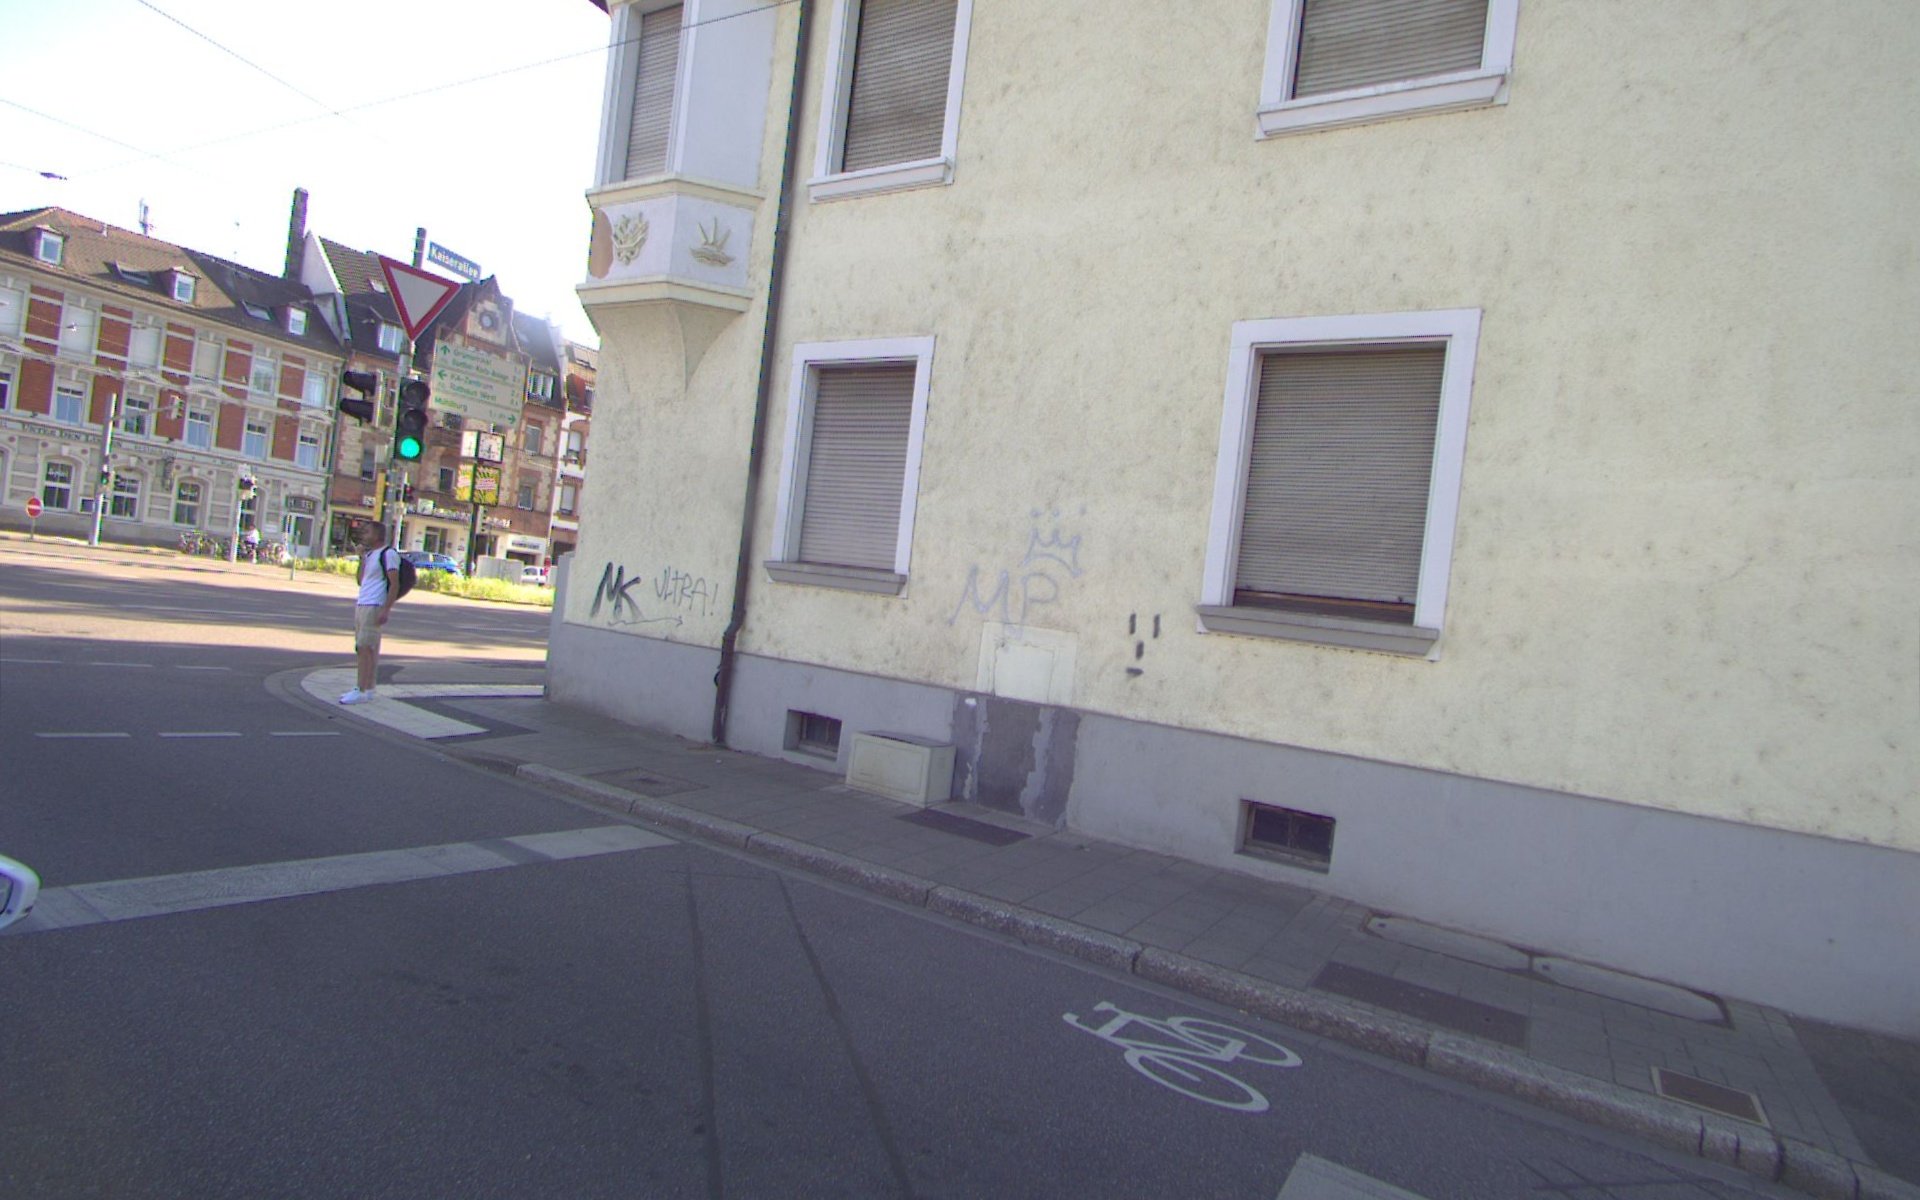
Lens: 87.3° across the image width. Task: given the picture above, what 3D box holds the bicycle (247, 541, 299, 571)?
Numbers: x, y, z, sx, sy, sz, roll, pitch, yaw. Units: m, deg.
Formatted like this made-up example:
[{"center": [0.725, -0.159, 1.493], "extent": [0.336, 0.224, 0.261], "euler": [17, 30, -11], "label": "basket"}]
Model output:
[{"center": [-32.881, -2.088, 48.178], "extent": [0.667, 1.205, 1.968], "euler": [7, -1, 20], "label": "bicycle"}]

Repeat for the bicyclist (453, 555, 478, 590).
[{"center": [-27.061, -1.508, 55.069], "extent": [0.591, 1.785, 0.905], "euler": [7, 0, 27], "label": "bicyclist"}]

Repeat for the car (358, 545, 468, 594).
[{"center": [-25.402, -1.377, 46.842], "extent": [1.922, 1.688, 3.993], "euler": [7, -1, 31], "label": "car"}]

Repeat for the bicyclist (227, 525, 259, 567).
[{"center": [-32.388, -2.437, 45.424], "extent": [0.592, 1.785, 0.873], "euler": [7, 0, 34], "label": "bicyclist"}]

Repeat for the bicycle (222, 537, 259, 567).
[{"center": [-33.849, -2.276, 47.326], "extent": [1.935, 1.205, 0.678], "euler": [7, 0, 33], "label": "bicycle"}]

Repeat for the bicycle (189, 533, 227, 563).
[{"center": [-34.543, -2.392, 46.197], "extent": [1.935, 1.205, 0.678], "euler": [7, 0, 33], "label": "bicycle"}]

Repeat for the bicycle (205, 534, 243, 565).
[{"center": [-34.204, -2.353, 46.753], "extent": [1.935, 1.205, 0.678], "euler": [7, 0, 33], "label": "bicycle"}]

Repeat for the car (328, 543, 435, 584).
[{"center": [-27.828, -1.737, 48.479], "extent": [1.815, 1.429, 3.993], "euler": [7, -1, 31], "label": "car"}]

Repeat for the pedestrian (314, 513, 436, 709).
[{"center": [-5.613, 0.097, 9.681], "extent": [0.661, 1.764, 0.689], "euler": [5, 2, 2], "label": "pedestrian"}]

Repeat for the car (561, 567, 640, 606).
[{"center": [-23.239, -0.837, 65.197], "extent": [1.922, 1.988, 4.411], "euler": [7, -1, 31], "label": "car"}]

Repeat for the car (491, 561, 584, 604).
[{"center": [-21.919, -0.898, 52.346], "extent": [1.922, 1.688, 3.993], "euler": [7, -1, 31], "label": "car"}]

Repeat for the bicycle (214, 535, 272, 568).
[{"center": [-32.395, -2.187, 45.468], "extent": [0.592, 1.205, 1.962], "euler": [7, -1, 34], "label": "bicycle"}]

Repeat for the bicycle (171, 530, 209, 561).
[{"center": [-34.883, -2.477, 45.584], "extent": [1.935, 1.205, 0.678], "euler": [7, 0, 33], "label": "bicycle"}]

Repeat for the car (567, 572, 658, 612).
[{"center": [-19.464, -0.397, 56.505], "extent": [1.922, 1.688, 4.480], "euler": [7, -1, 31], "label": "car"}]
